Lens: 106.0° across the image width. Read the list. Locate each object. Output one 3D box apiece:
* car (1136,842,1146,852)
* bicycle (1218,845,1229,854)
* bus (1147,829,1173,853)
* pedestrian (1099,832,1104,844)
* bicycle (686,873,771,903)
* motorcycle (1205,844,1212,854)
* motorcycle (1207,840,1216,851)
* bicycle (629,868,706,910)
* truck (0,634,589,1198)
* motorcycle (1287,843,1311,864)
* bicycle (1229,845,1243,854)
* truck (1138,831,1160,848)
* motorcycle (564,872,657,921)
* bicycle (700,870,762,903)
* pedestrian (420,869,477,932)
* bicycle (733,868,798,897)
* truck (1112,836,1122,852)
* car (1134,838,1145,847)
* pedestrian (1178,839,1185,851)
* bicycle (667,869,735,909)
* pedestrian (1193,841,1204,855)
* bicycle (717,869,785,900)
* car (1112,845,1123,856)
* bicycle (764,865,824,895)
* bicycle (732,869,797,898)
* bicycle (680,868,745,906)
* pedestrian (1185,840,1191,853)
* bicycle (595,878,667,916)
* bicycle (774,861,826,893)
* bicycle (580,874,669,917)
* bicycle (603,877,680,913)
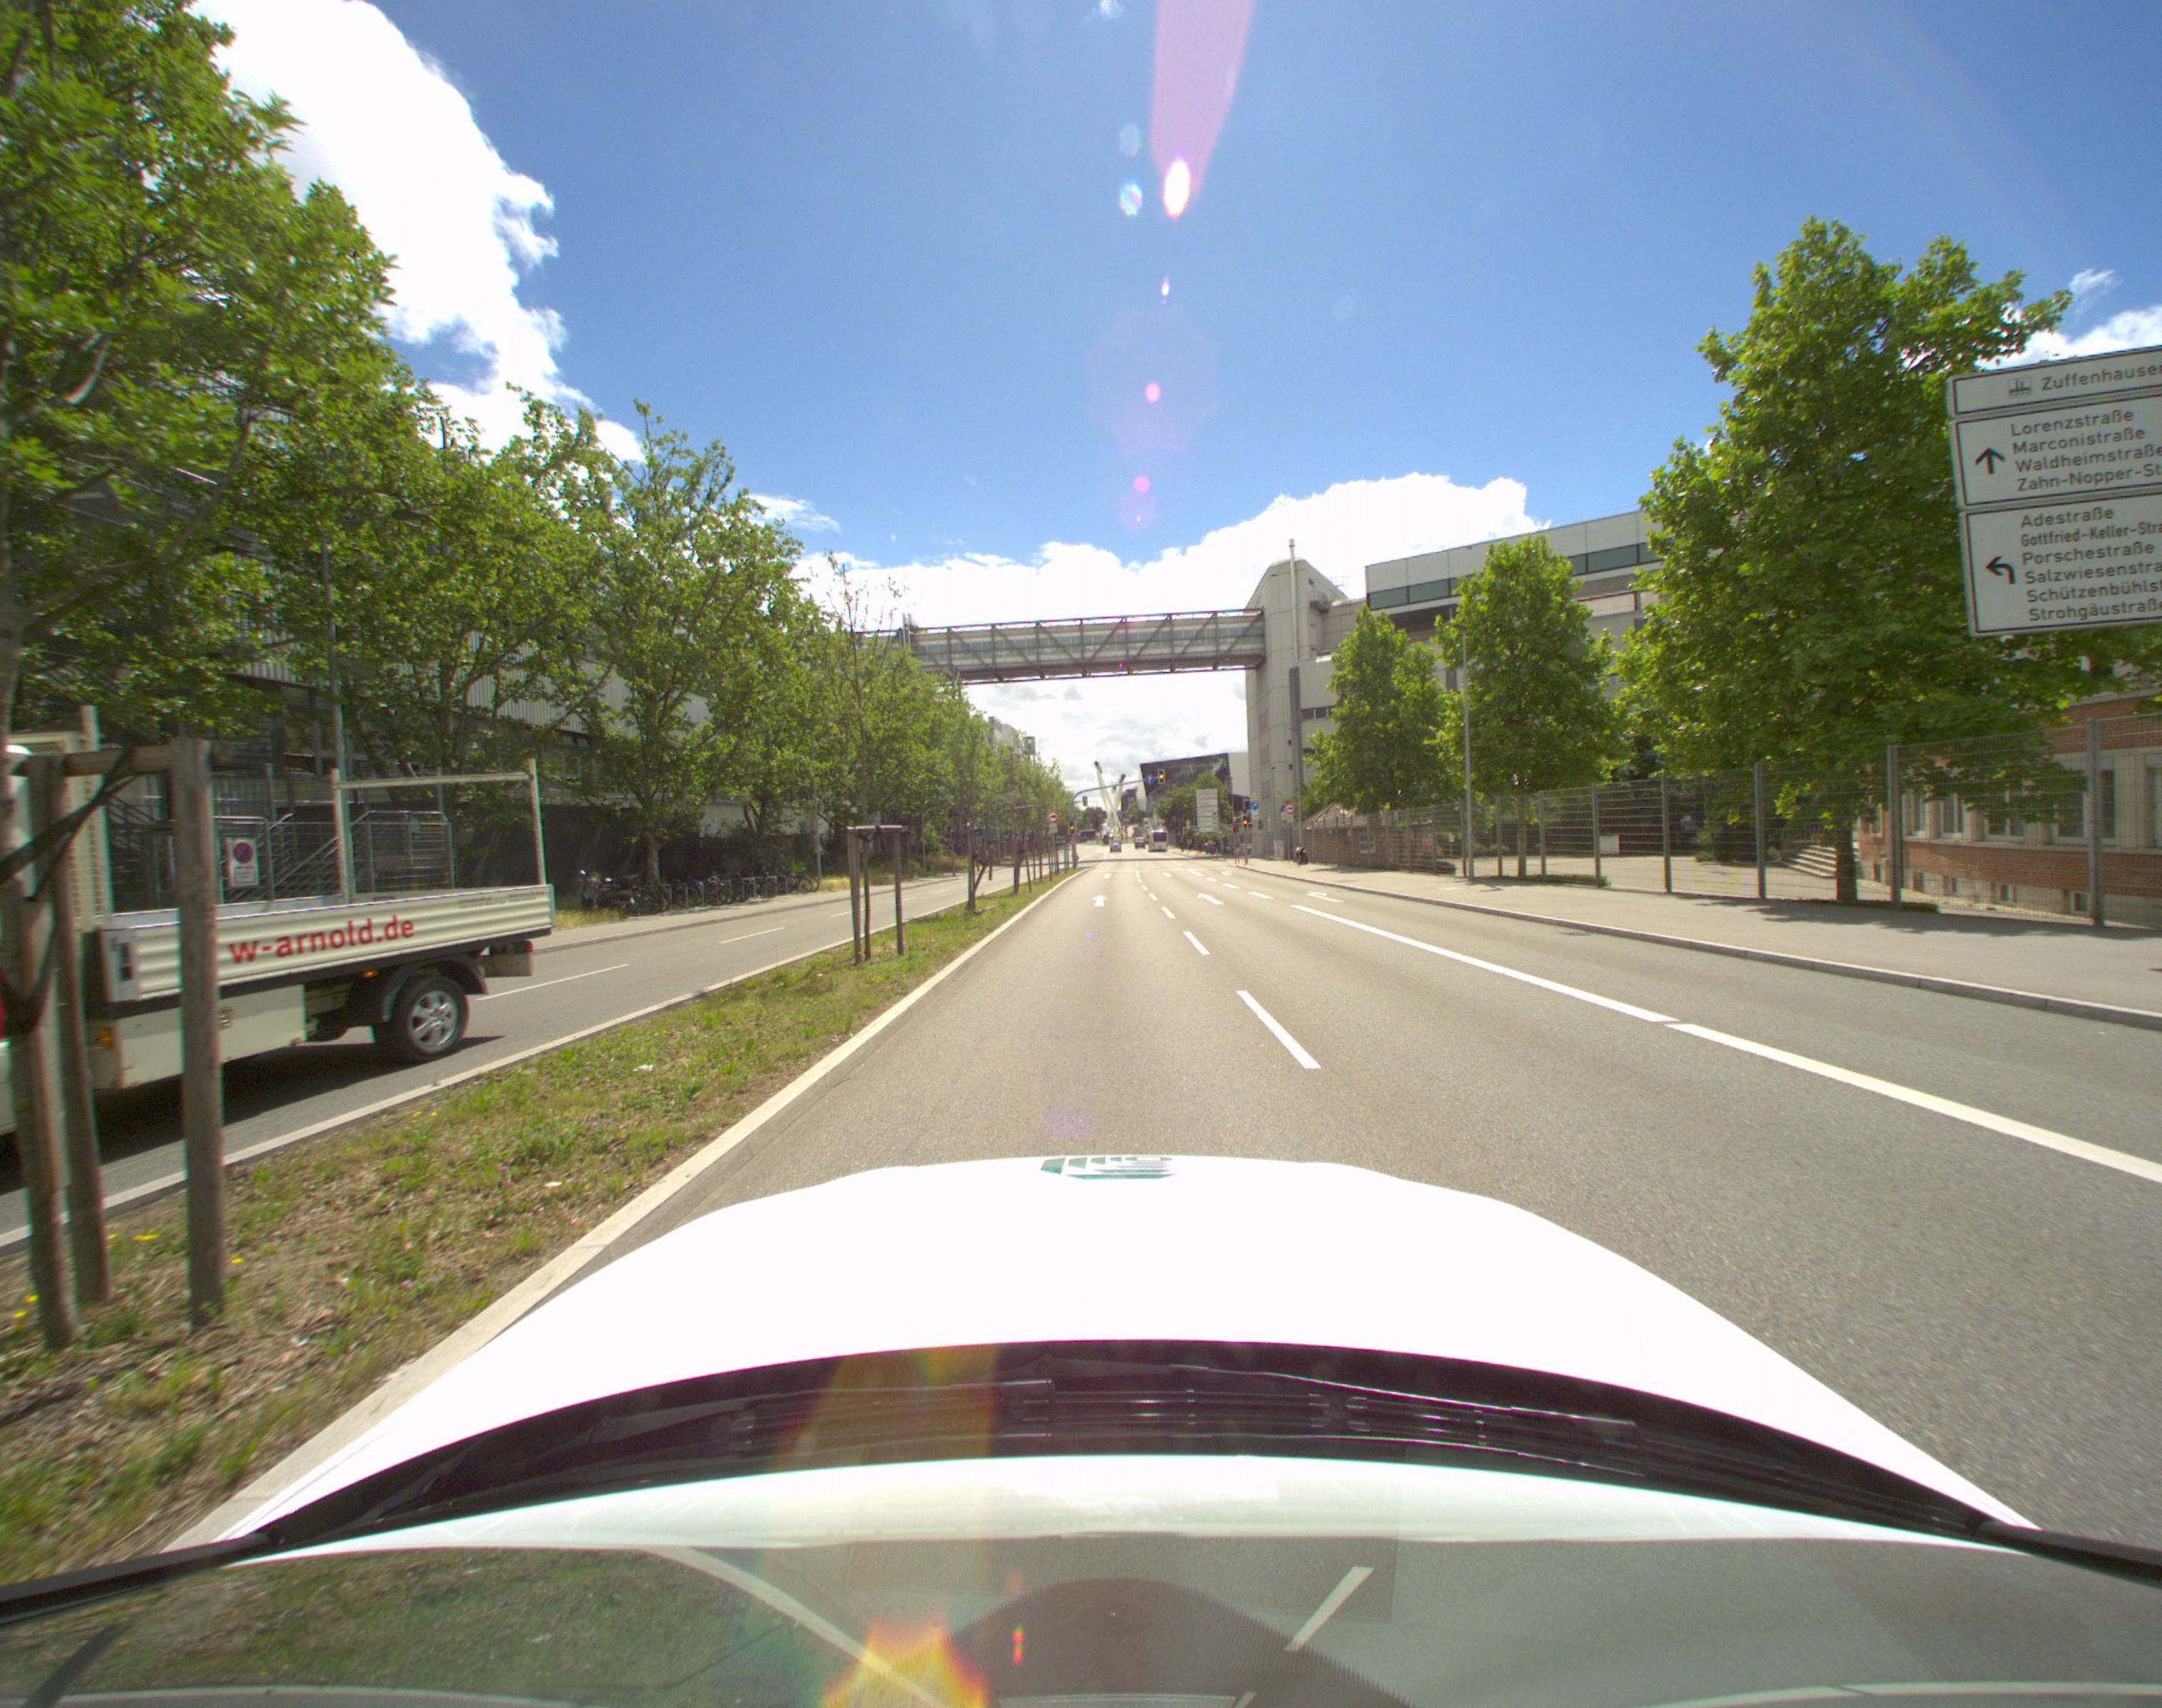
[{"bbox_3d":[11.398,-1.345,154.245,1.731,1.741,3.694,-1,0,3],"label":"car"},{"bbox_3d":[15.429,-0.472,88.233,0.398,0.937,1.918,-1,0,-16],"label":"bicycle"},{"bbox_3d":[12.562,-2.089,130.343,3.439,3.543,10.612,-1,0,2],"label":"bus"},{"bbox_3d":[6.253,-5.013,249.937,1.410,3.600,1.284,-2,0,2],"label":"pedestrian"},{"bbox_3d":[-13.475,1.293,31.176,2.832,1.006,0.849,-1,0,-7],"label":"bicycle"},{"bbox_3d":[15.703,-0.599,100.026,0.571,1.203,2.026,-4,1,3],"label":"motorcycle"},{"bbox_3d":[14.762,-0.935,91.915,0.703,1.203,2.026,-4,1,3],"label":"motorcycle"},{"bbox_3d":[-13.787,1.163,27.201,2.127,1.282,0.806,-2,0,0],"label":"bicycle"},{"bbox_3d":[-6.460,0.334,5.112,2.469,2.751,6.463,-2,0,3],"label":"truck"},{"bbox_3d":[12.870,-0.032,48.139,0.691,1.158,2.146,-3,0,-2],"label":"motorcycle"},{"bbox_3d":[16.365,-0.442,85.919,0.399,0.937,1.914,-1,0,-22],"label":"bicycle"},{"bbox_3d":[18.390,-3.883,218.777,3.423,4.391,9.469,-1,0,21],"label":"truck"},{"bbox_3d":[-13.309,1.193,23.074,2.127,1.309,0.806,-2,0,0],"label":"motorcycle"},{"bbox_3d":[-12.963,1.195,30.221,1.912,1.122,0.806,-2,0,0],"label":"bicycle"},{"bbox_3d":[-16.192,1.183,20.875,0.749,1.551,0.823,-2,0,12],"label":"pedestrian"},{"bbox_3d":[-13.548,1.228,34.976,2.548,1.157,0.728,-1,0,12],"label":"bicycle"},{"bbox_3d":[9.148,-2.528,205.754,2.382,3.897,6.182,-1,0,3],"label":"truck"},{"bbox_3d":[13.048,-2.563,181.905,1.988,2.014,3.997,-1,-1,-2],"label":"car"},{"bbox_3d":[14.252,-1.245,115.262,0.817,1.707,0.882,-1,0,3],"label":"pedestrian"},{"bbox_3d":[-13.108,1.189,28.113,1.912,1.282,0.806,-2,0,0],"label":"bicycle"},{"bbox_3d":[14.230,-0.762,98.777,0.839,1.624,0.962,-1,0,44],"label":"pedestrian"},{"bbox_3d":[-13.385,1.243,33.057,2.548,1.096,0.698,-3,0,12],"label":"bicycle"},{"bbox_3d":[5.860,-0.580,131.335,1.731,1.741,3.694,-1,0,3],"label":"car"},{"bbox_3d":[-12.613,1.144,35.832,2.394,1.258,0.556,-2,0,3],"label":"bicycle"},{"bbox_3d":[-13.165,1.220,33.843,2.548,1.157,0.646,-1,0,12],"label":"bicycle"},{"bbox_3d":[-13.172,1.168,29.154,1.912,1.282,0.806,-2,0,0],"label":"bicycle"},{"bbox_3d":[15.020,-1.044,114.152,0.634,1.741,0.821,-1,0,-5],"label":"pedestrian"},{"bbox_3d":[-13.722,1.303,24.856,1.917,1.074,0.422,-2,0,0],"label":"bicycle"},{"bbox_3d":[-12.784,1.050,37.047,2.157,1.363,0.490,-2,0,3],"label":"bicycle"},{"bbox_3d":[-13.482,1.214,24.101,2.127,1.180,0.806,-2,0,0],"label":"bicycle"},{"bbox_3d":[-13.651,1.270,25.324,2.074,1.062,0.497,-2,0,0],"label":"bicycle"}]
